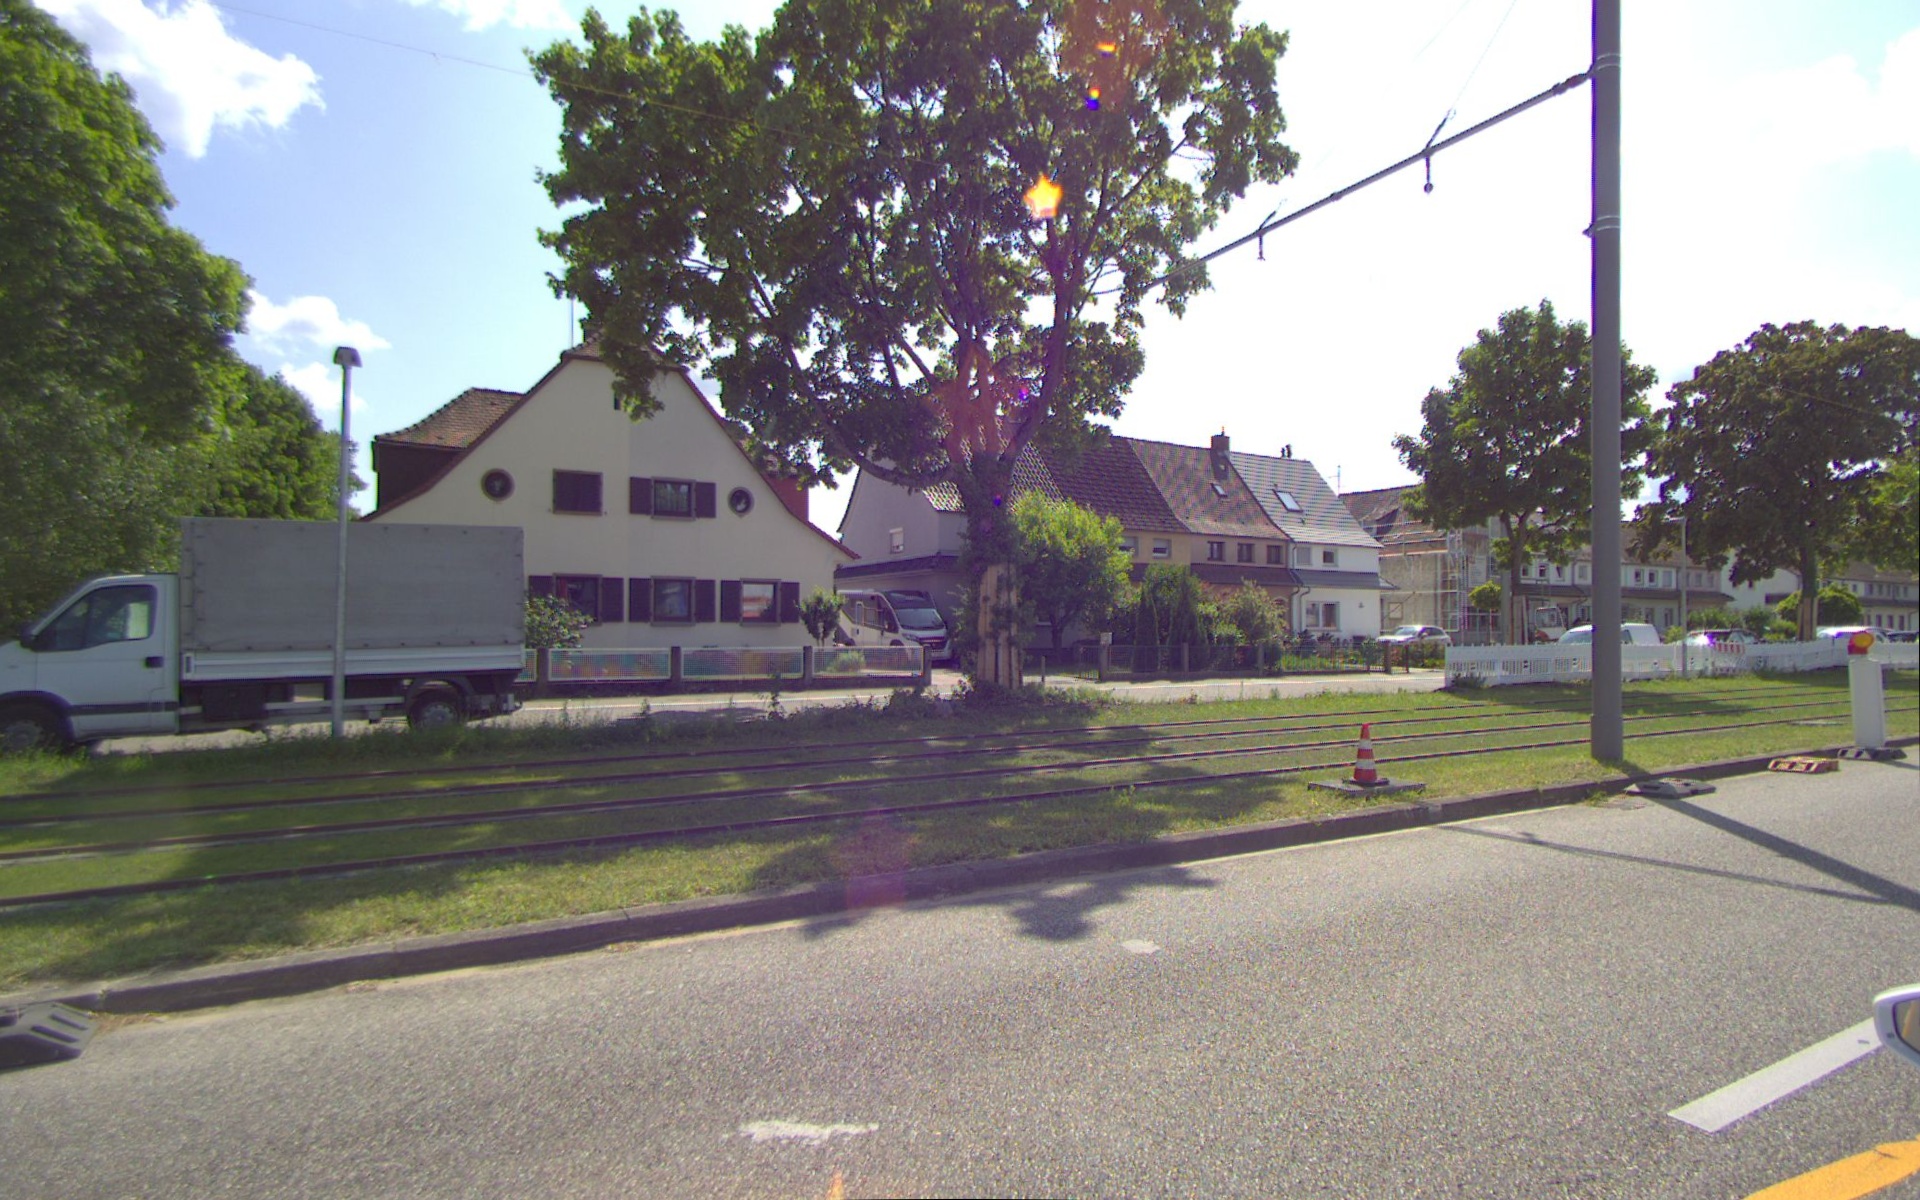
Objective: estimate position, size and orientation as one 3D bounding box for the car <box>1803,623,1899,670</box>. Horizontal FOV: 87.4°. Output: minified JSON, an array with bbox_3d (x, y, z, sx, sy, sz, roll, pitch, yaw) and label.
[{"bbox_3d":[34.963,1.803,39.397,3.814,1.762,1.691,1,-2,-30],"label":"car"}]

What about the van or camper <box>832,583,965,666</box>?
[{"bbox_3d":[-2.358,0.909,36.639,2.224,2.745,5.963,1,-2,-33],"label":"van or camper"}]

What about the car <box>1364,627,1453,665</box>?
[{"bbox_3d":[19.881,1.994,44.471,3.814,1.614,1.691,1,-2,-30],"label":"car"}]

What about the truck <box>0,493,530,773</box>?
[{"bbox_3d":[-8.802,0.415,12.922,5.805,3.027,1.994,1,-2,-30],"label":"truck"}]

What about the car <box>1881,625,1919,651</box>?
[{"bbox_3d":[66.741,2.682,70.730,4.013,1.762,1.691,1,-2,-30],"label":"car"}]

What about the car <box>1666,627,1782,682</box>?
[{"bbox_3d":[25.739,1.800,33.820,4.006,1.762,1.691,1,-2,-30],"label":"car"}]

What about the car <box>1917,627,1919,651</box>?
[{"bbox_3d":[72.123,2.845,73.666,4.013,1.762,1.691,1,-2,-30],"label":"car"}]

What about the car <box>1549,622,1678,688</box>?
[{"bbox_3d":[19.495,1.605,29.952,3.814,1.841,1.691,1,-2,-30],"label":"car"}]

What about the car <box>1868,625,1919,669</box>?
[{"bbox_3d":[40.381,1.961,42.595,3.814,1.762,1.691,1,-2,-30],"label":"car"}]
